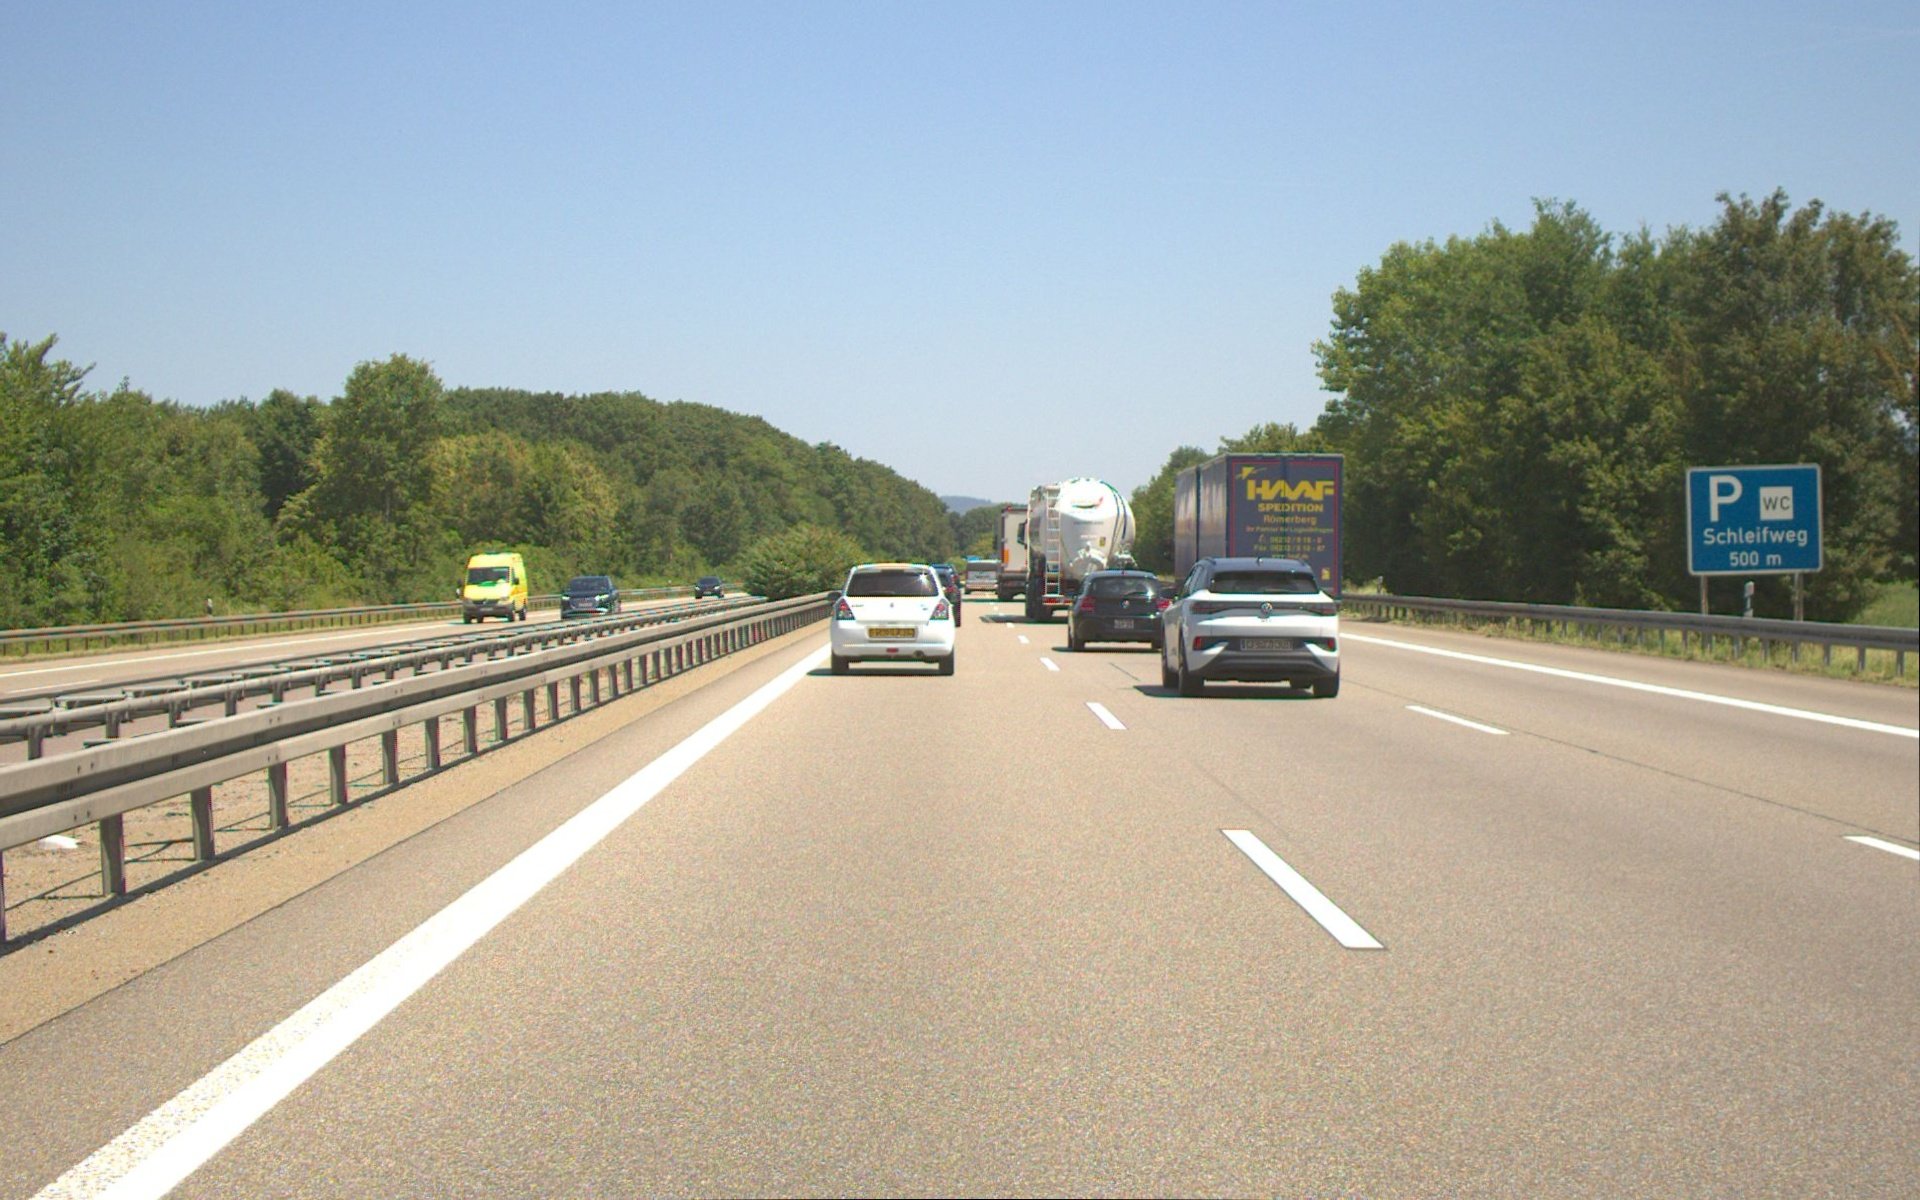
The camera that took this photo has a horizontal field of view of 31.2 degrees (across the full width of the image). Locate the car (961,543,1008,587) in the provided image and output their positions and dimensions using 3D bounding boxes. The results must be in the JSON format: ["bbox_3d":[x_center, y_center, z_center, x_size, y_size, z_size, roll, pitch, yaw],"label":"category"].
[{"bbox_3d":[1.358,-1.950,189.400,2.475,2.346,5.181,1,1,1],"label":"car"}]

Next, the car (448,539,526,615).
[{"bbox_3d":[-18.169,-0.907,132.351,2.165,2.770,5.800,-2,1,-1],"label":"car"}]

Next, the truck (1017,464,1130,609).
[{"bbox_3d":[3.275,-1.851,101.361,2.912,4.065,7.195,1,1,-1],"label":"truck"}]

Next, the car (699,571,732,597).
[{"bbox_3d":[-16.652,-1.103,234.358,1.924,1.711,4.288,-1,1,0],"label":"car"}]

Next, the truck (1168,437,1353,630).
[{"bbox_3d":[6.965,-1.548,82.110,3.109,4.124,15.511,1,1,0],"label":"truck"}]

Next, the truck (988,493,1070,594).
[{"bbox_3d":[2.964,-2.480,151.682,3.394,4.199,12.083,1,1,0],"label":"truck"}]

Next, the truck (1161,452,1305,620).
[{"bbox_3d":[7.032,-1.652,89.512,3.109,4.124,8.056,1,1,0],"label":"truck"}]

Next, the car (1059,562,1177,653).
[{"bbox_3d":[2.773,0.101,61.057,1.850,1.518,3.957,1,1,0],"label":"car"}]

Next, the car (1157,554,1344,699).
[{"bbox_3d":[3.399,0.271,40.904,1.802,1.597,4.381,1,1,0],"label":"car"}]

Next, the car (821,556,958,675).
[{"bbox_3d":[-0.977,0.179,47.562,1.799,1.546,3.610,1,1,-1],"label":"car"}]

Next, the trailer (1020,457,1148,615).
[{"bbox_3d":[3.340,-1.756,95.677,2.911,4.055,12.419,1,1,-1],"label":"trailer"}]

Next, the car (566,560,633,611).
[{"bbox_3d":[-12.903,-0.540,123.196,1.868,1.684,4.627,-2,1,0],"label":"car"}]
